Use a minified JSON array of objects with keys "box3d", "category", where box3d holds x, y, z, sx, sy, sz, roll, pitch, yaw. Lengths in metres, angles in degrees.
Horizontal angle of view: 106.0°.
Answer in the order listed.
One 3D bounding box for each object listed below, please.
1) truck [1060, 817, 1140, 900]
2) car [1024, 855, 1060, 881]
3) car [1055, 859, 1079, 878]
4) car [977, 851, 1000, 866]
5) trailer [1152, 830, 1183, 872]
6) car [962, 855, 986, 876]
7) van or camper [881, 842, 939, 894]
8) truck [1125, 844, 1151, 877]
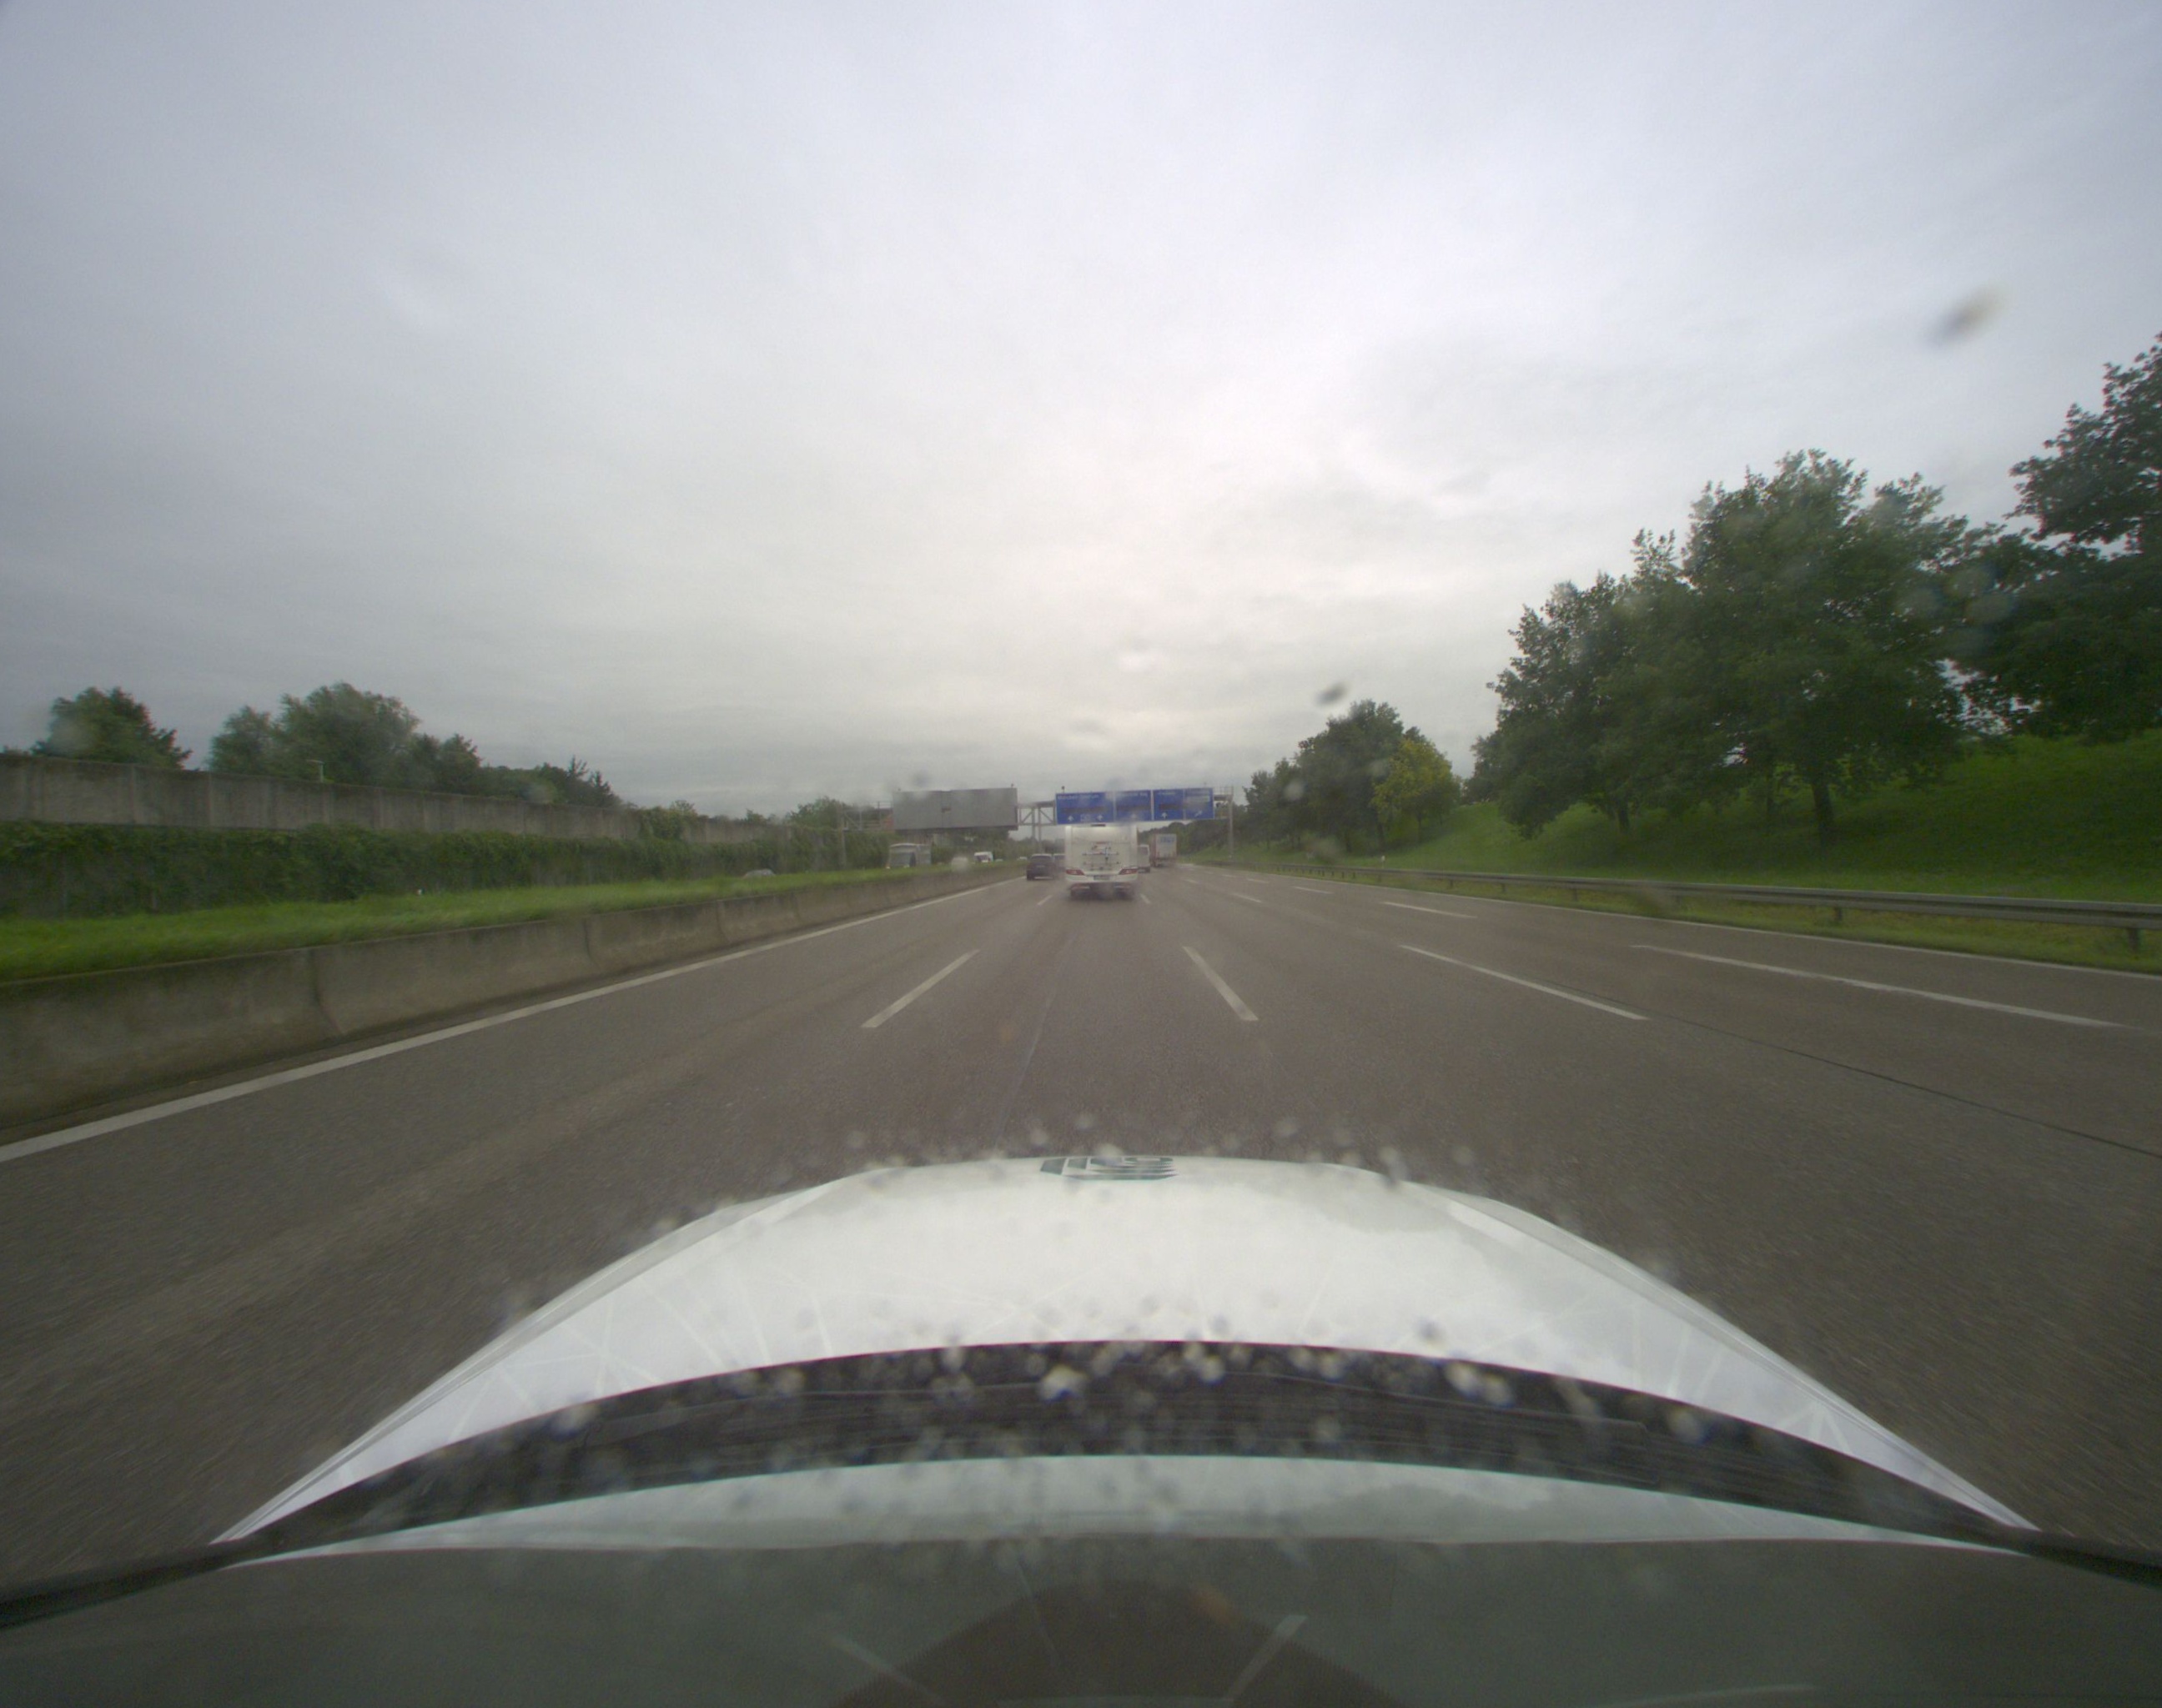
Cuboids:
[{"box3d":[0.680,0.157,29.528,2.651,2.742,5.078,0,-1,1],"category":"truck"},{"box3d":[-2.440,0.868,52.256,1.986,1.600,5.124,0,-1,1],"category":"car"},{"box3d":[-1.345,1.410,79.265,2.120,1.706,4.113,1,-1,1],"category":"car"},{"box3d":[-12.404,0.609,109.325,2.119,1.912,6.536,0,-1,2],"category":"car"},{"box3d":[10.530,-0.329,100.684,3.087,4.922,11.797,0,-1,3],"category":"trailer"},{"box3d":[-10.683,1.171,81.667,1.761,2.014,4.002,0,-1,2],"category":"car"},{"box3d":[-13.670,1.121,65.806,2.698,3.948,8.404,0,-1,2],"category":"van or camper"},{"box3d":[4.958,0.591,71.310,2.046,2.770,5.550,0,-1,1],"category":"truck"}]
